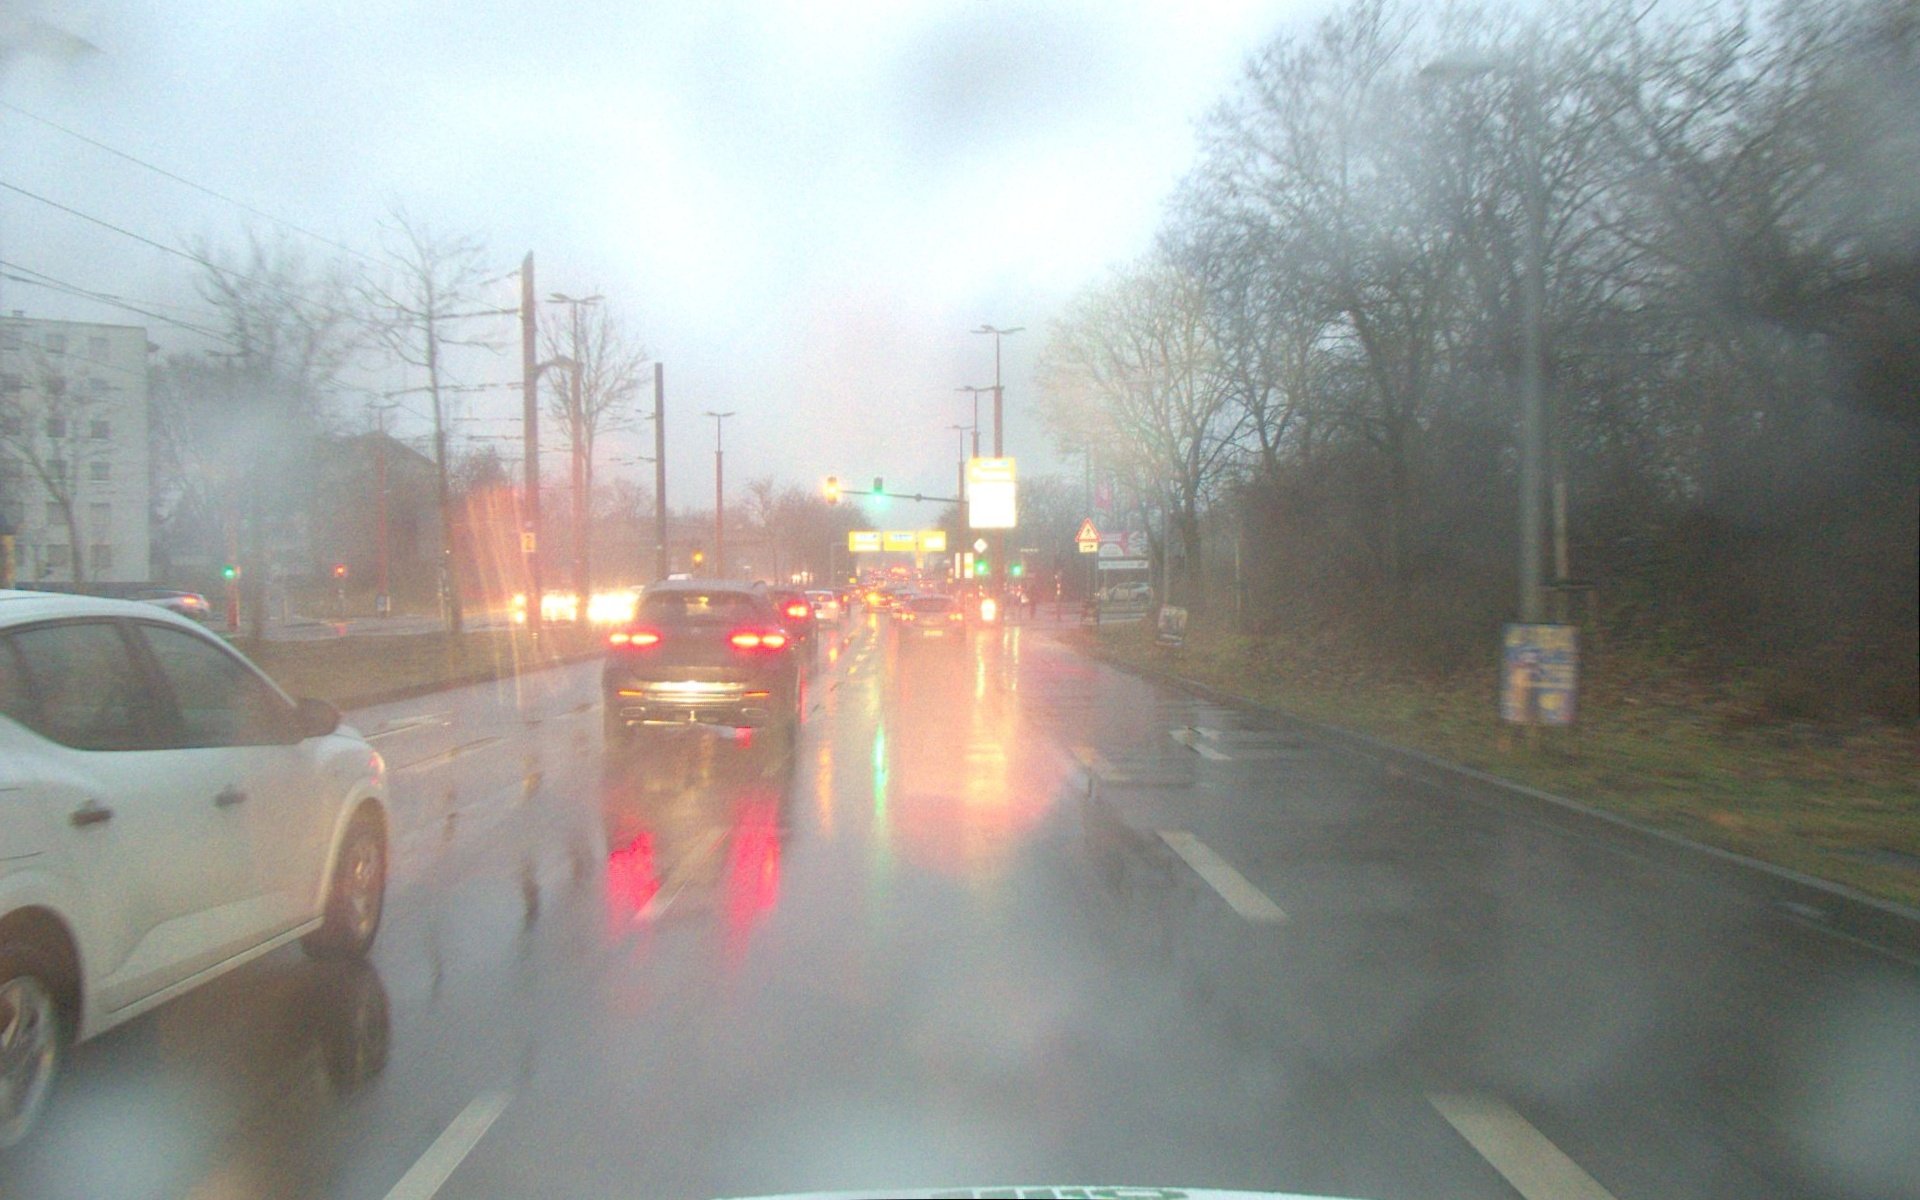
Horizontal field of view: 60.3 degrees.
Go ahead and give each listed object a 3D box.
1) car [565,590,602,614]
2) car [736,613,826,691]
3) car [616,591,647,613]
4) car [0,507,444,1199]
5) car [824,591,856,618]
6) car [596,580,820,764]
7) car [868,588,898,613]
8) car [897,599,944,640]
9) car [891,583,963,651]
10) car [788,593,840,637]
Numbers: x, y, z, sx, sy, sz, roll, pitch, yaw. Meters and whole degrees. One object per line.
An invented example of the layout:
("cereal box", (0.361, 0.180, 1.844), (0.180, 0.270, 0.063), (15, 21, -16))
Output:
("car", (-25.161, 0.118, 110.692), (1.735, 1.581, 3.944), (-1, 1, -3))
("car", (-4.157, 1.175, 38.969), (1.785, 1.676, 3.999), (-1, 0, -2))
("car", (-22.309, 0.107, 112.370), (1.619, 1.445, 3.324), (-1, 1, -3))
("car", (-3.117, 0.622, 5.359), (1.679, 1.676, 4.146), (-1, 0, -2))
("car", (-6.130, 0.211, 84.754), (1.475, 1.362, 3.999), (-1, 0, -2))
("car", (-2.519, 0.652, 17.516), (1.785, 1.676, 4.465), (-1, 0, -2))
("car", (-4.725, 0.018, 101.633), (1.785, 1.530, 3.999), (-1, 0, -2))
("car", (-1.744, 0.832, 71.964), (1.953, 1.691, 3.998), (1, 0, -2))
("car", (-0.894, 0.426, 43.885), (1.785, 1.676, 4.465), (-1, 0, -2))
("car", (-5.734, 0.571, 65.313), (1.785, 1.676, 3.999), (-1, 0, -2))
